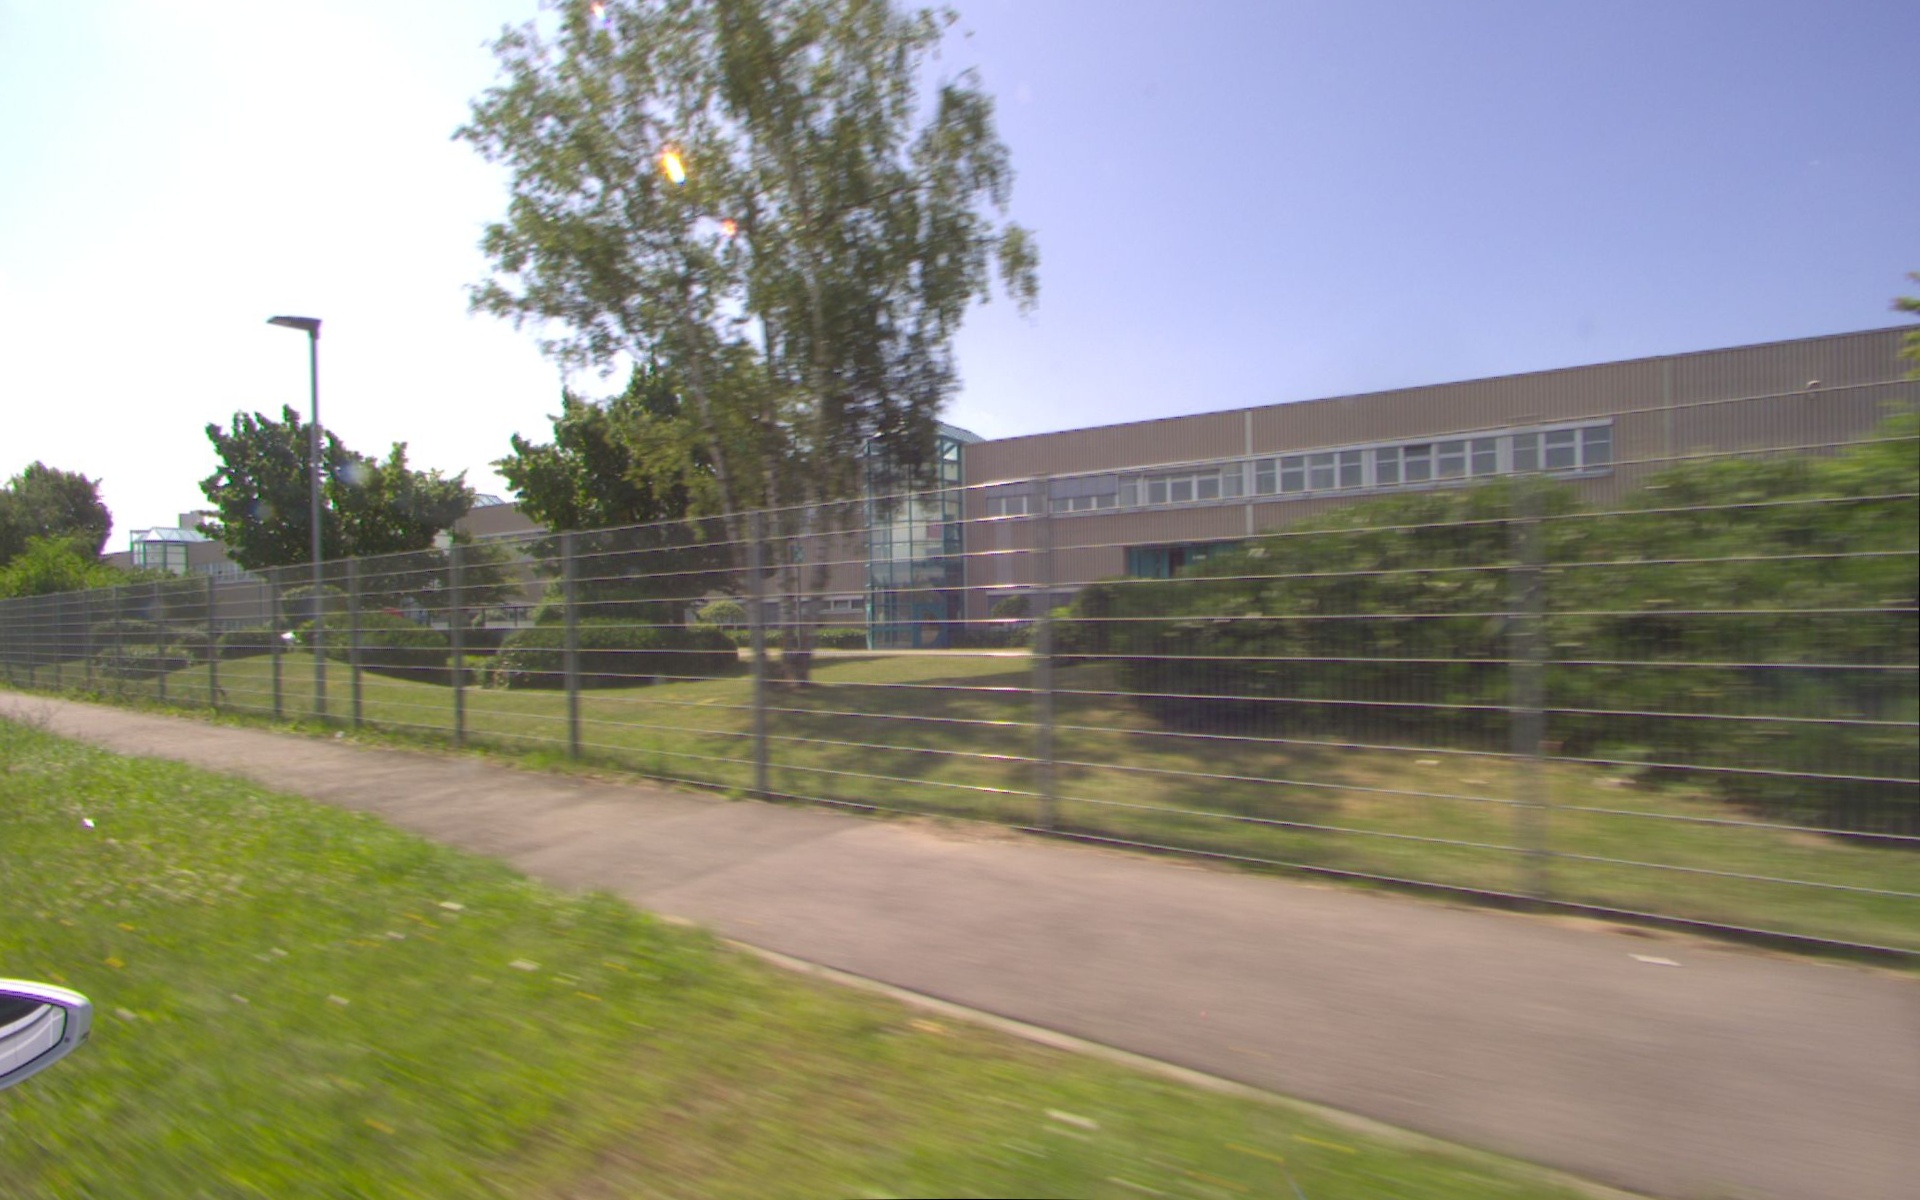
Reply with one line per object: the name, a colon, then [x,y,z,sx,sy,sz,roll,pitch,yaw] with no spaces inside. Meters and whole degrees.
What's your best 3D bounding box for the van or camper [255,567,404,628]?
van or camper: [-30.176,-0.025,48.144,1.970,2.549,5.768,-1,-3,30]
